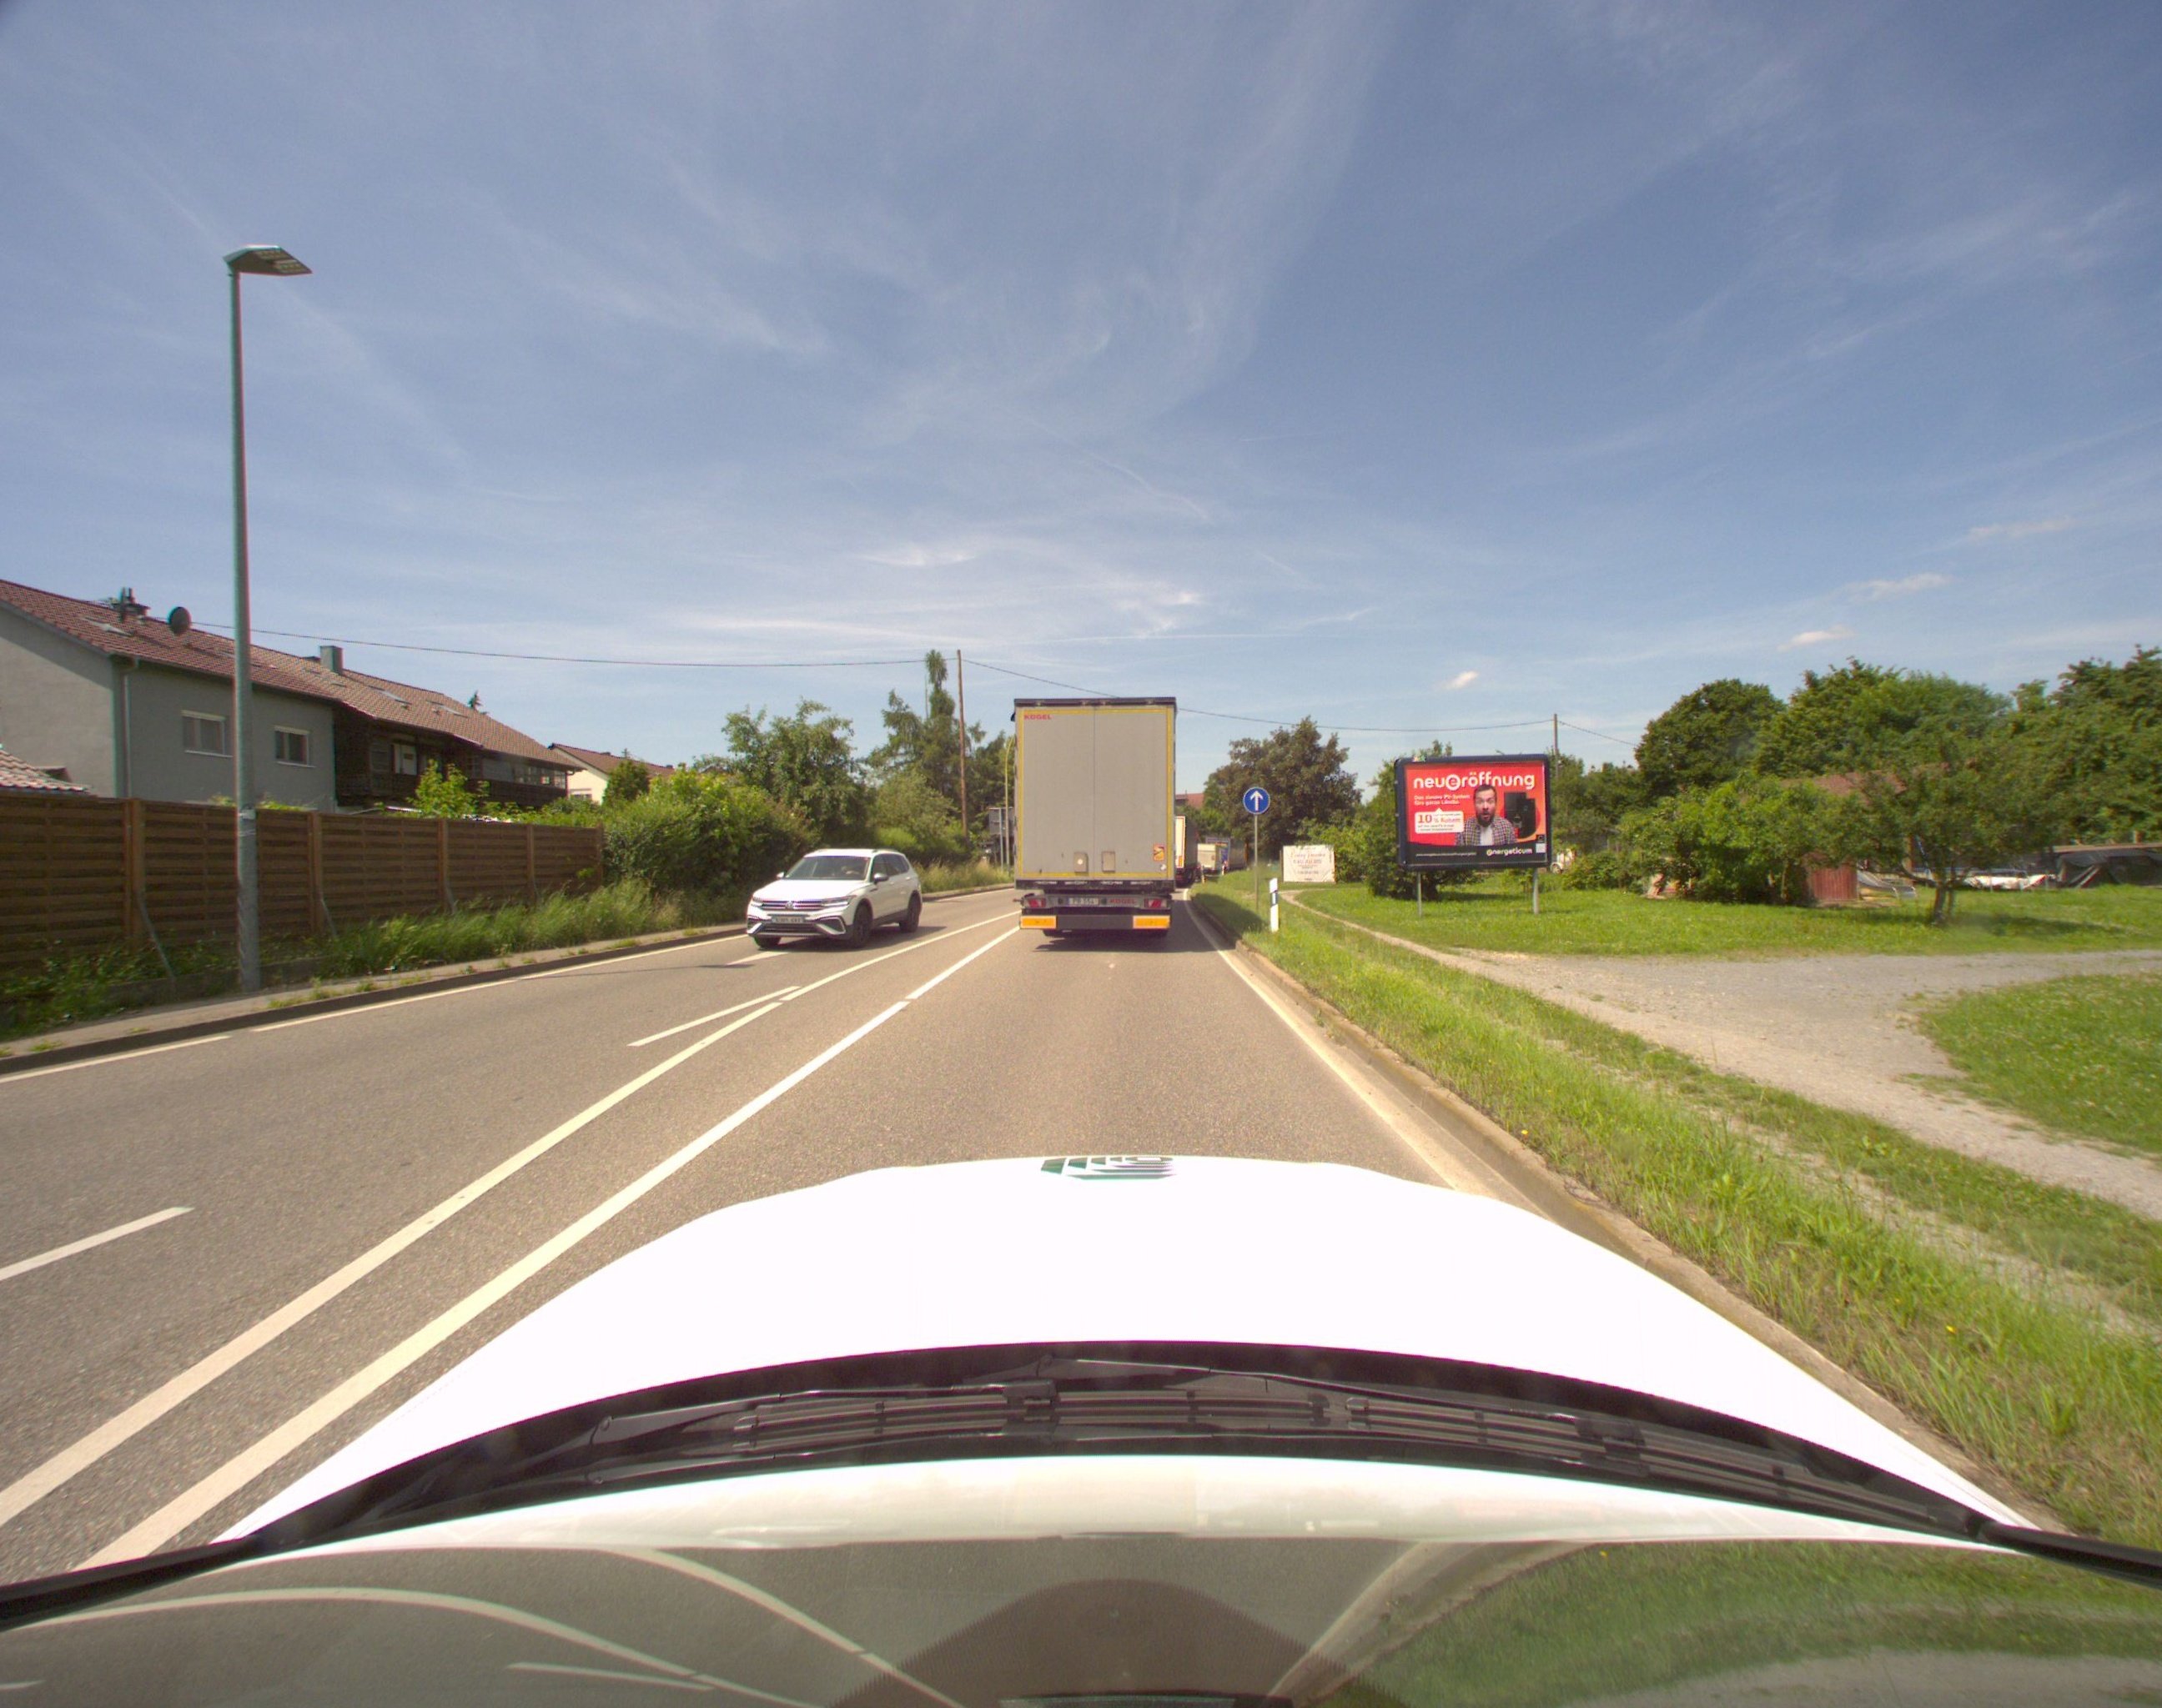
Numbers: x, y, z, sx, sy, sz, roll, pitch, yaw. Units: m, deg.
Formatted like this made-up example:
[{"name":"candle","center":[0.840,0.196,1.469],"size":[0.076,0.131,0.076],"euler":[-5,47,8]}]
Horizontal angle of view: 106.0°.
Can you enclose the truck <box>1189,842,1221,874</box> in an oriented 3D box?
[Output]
[{"name":"truck","center":[11.597,0.318,75.613],"size":[2.403,2.838,5.433],"euler":[0,0,14]}]

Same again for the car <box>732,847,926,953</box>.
[{"name":"car","center":[-4.384,0.719,14.983],"size":[1.837,1.655,4.410],"euler":[0,0,5]}]

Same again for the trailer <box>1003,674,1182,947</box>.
[{"name":"trailer","center":[0.757,-0.691,18.687],"size":[2.773,4.205,12.130],"euler":[0,0,6]}]

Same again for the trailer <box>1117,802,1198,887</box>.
[{"name":"trailer","center":[4.983,-0.488,49.981],"size":[3.867,4.521,12.749],"euler":[-1,0,10]}]

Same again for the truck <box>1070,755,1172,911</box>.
[{"name":"truck","center":[1.395,-0.573,24.982],"size":[2.732,4.165,6.153],"euler":[0,0,6]}]

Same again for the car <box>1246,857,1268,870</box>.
[{"name":"car","center":[23.682,1.304,109.771],"size":[1.975,1.684,4.024],"euler":[0,0,26]}]

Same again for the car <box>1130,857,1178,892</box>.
[{"name":"car","center":[3.500,0.924,38.461],"size":[1.982,1.530,4.010],"euler":[0,0,9]}]

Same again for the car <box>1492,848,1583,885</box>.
[{"name":"car","center":[25.272,0.667,45.184],"size":[3.963,2.013,2.005],"euler":[0,0,9]}]

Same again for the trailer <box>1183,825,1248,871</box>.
[{"name":"trailer","center":[15.173,-0.659,90.124],"size":[5.140,4.628,15.964],"euler":[0,0,16]}]

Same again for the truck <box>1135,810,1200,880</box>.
[{"name":"truck","center":[6.200,-0.561,57.073],"size":[3.912,4.575,7.172],"euler":[-1,0,10]}]

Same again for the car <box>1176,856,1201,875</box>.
[{"name":"car","center":[8.967,0.912,67.885],"size":[1.829,1.486,4.012],"euler":[-1,0,11]}]
